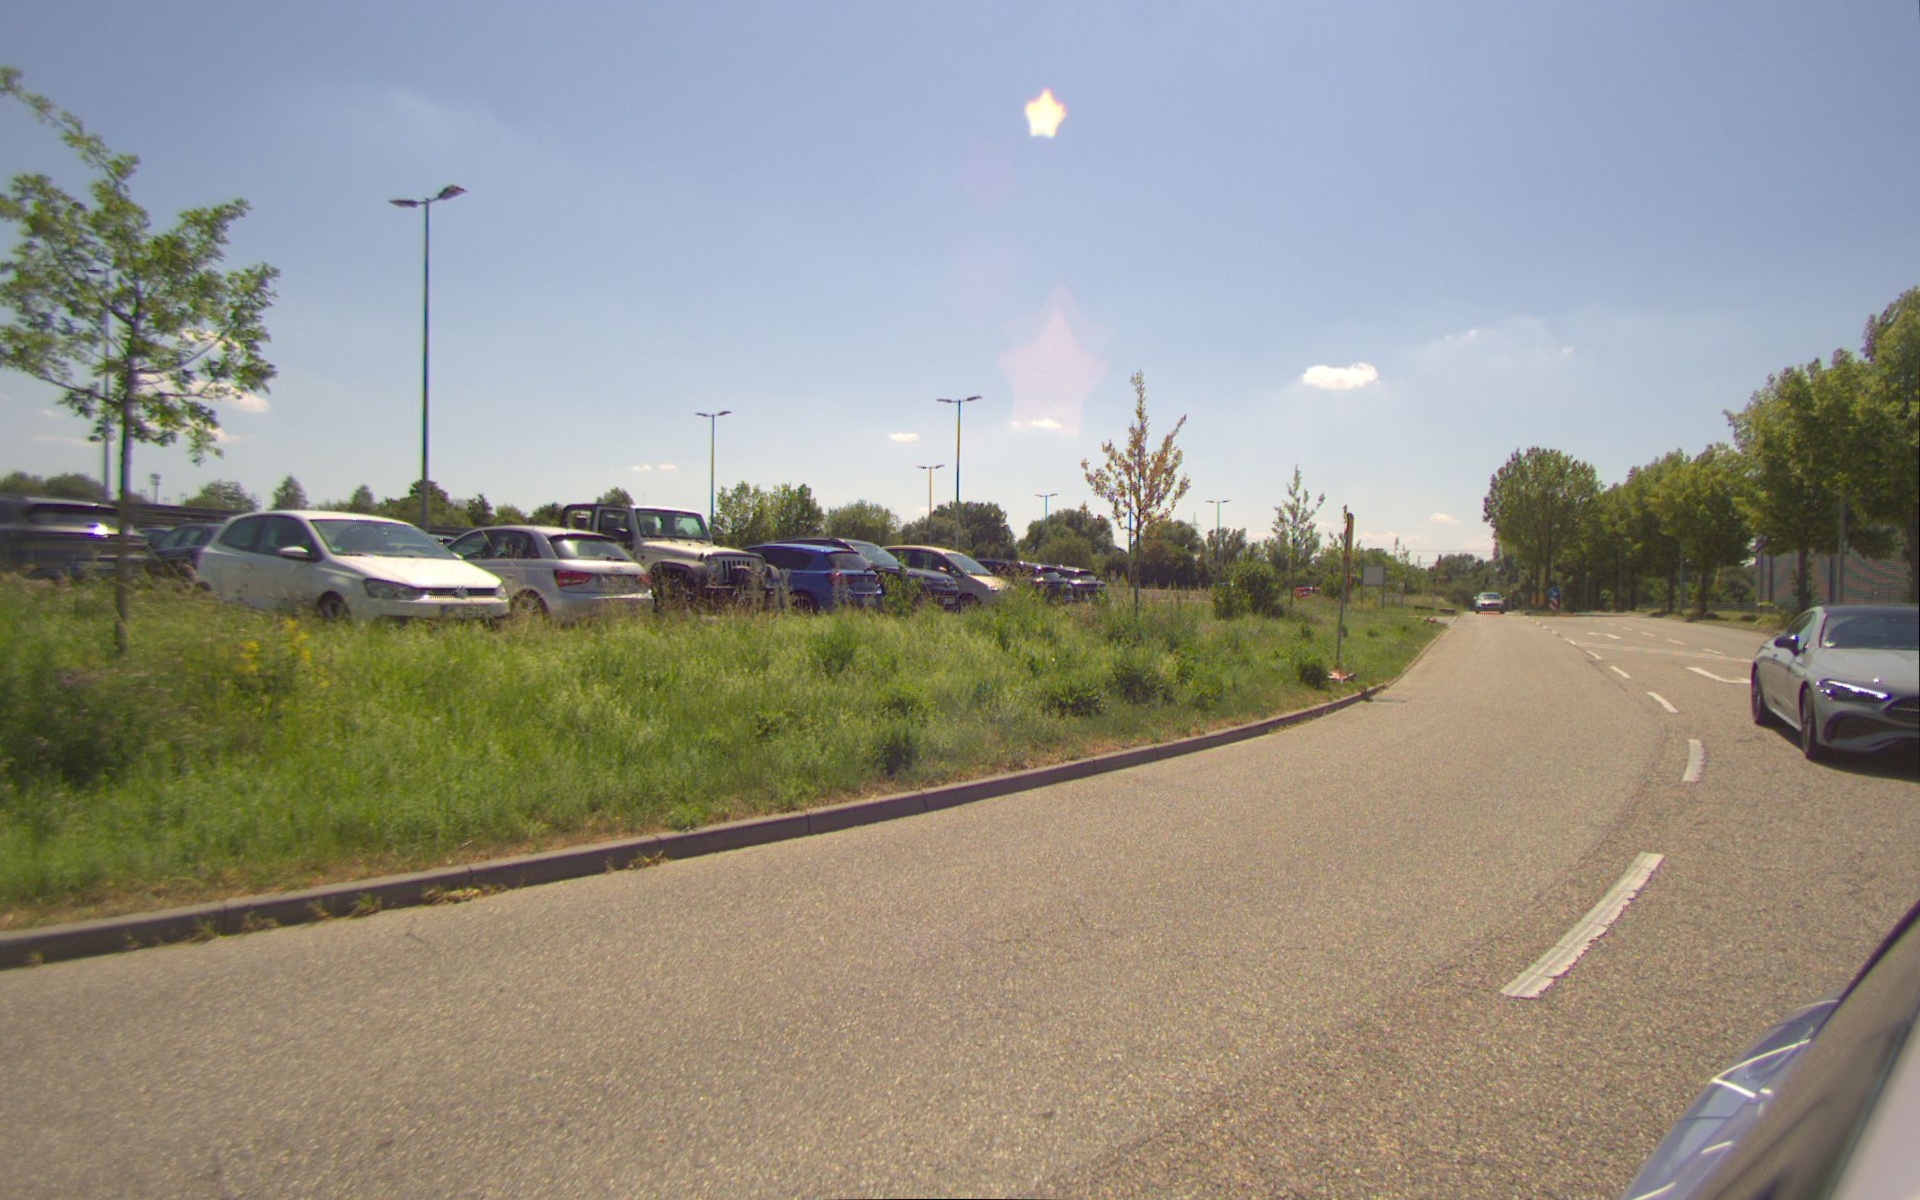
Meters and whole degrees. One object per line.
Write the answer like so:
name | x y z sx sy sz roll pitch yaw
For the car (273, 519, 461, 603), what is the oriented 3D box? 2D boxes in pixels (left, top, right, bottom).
car | -12.491 -0.838 21.318 3.604 1.617 1.753 3 2 27

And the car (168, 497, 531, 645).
car | -6.444 -0.334 10.613 3.844 1.313 1.559 1 3 29

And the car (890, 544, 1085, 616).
car | 0.645 -0.520 24.393 4.361 1.565 1.798 2 2 27

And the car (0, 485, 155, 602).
car | -15.472 -0.836 16.646 4.559 1.712 1.761 0 0 27

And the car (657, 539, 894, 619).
car | -3.229 -0.396 17.666 3.906 1.272 1.573 1 3 25

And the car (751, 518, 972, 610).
car | -1.954 -0.659 19.902 3.997 1.448 1.673 -4 -1 26

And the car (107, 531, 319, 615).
car | -13.849 -0.530 18.746 3.811 1.379 1.638 3 2 27

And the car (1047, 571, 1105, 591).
car | 8.593 -1.387 74.709 3.956 1.368 1.634 -1 1 24

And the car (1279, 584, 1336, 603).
car | 26.670 -0.525 77.672 3.956 1.368 1.634 -1 1 24

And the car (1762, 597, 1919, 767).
car | 9.466 0.679 10.097 1.885 1.401 4.577 0 0 33

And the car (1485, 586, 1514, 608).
car | 37.198 -0.227 69.736 1.658 1.392 4.453 -2 0 28

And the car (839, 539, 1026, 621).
car | -0.618 -0.475 22.406 3.811 1.644 1.603 3 2 26

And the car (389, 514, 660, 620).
car | -5.565 -0.437 12.906 3.240 1.196 1.487 1 3 28

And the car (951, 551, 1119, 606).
car | 1.959 -0.555 26.595 3.964 1.308 1.890 -1 1 29

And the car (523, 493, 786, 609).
car | -4.647 -0.739 15.299 3.722 1.546 1.855 2 3 33
